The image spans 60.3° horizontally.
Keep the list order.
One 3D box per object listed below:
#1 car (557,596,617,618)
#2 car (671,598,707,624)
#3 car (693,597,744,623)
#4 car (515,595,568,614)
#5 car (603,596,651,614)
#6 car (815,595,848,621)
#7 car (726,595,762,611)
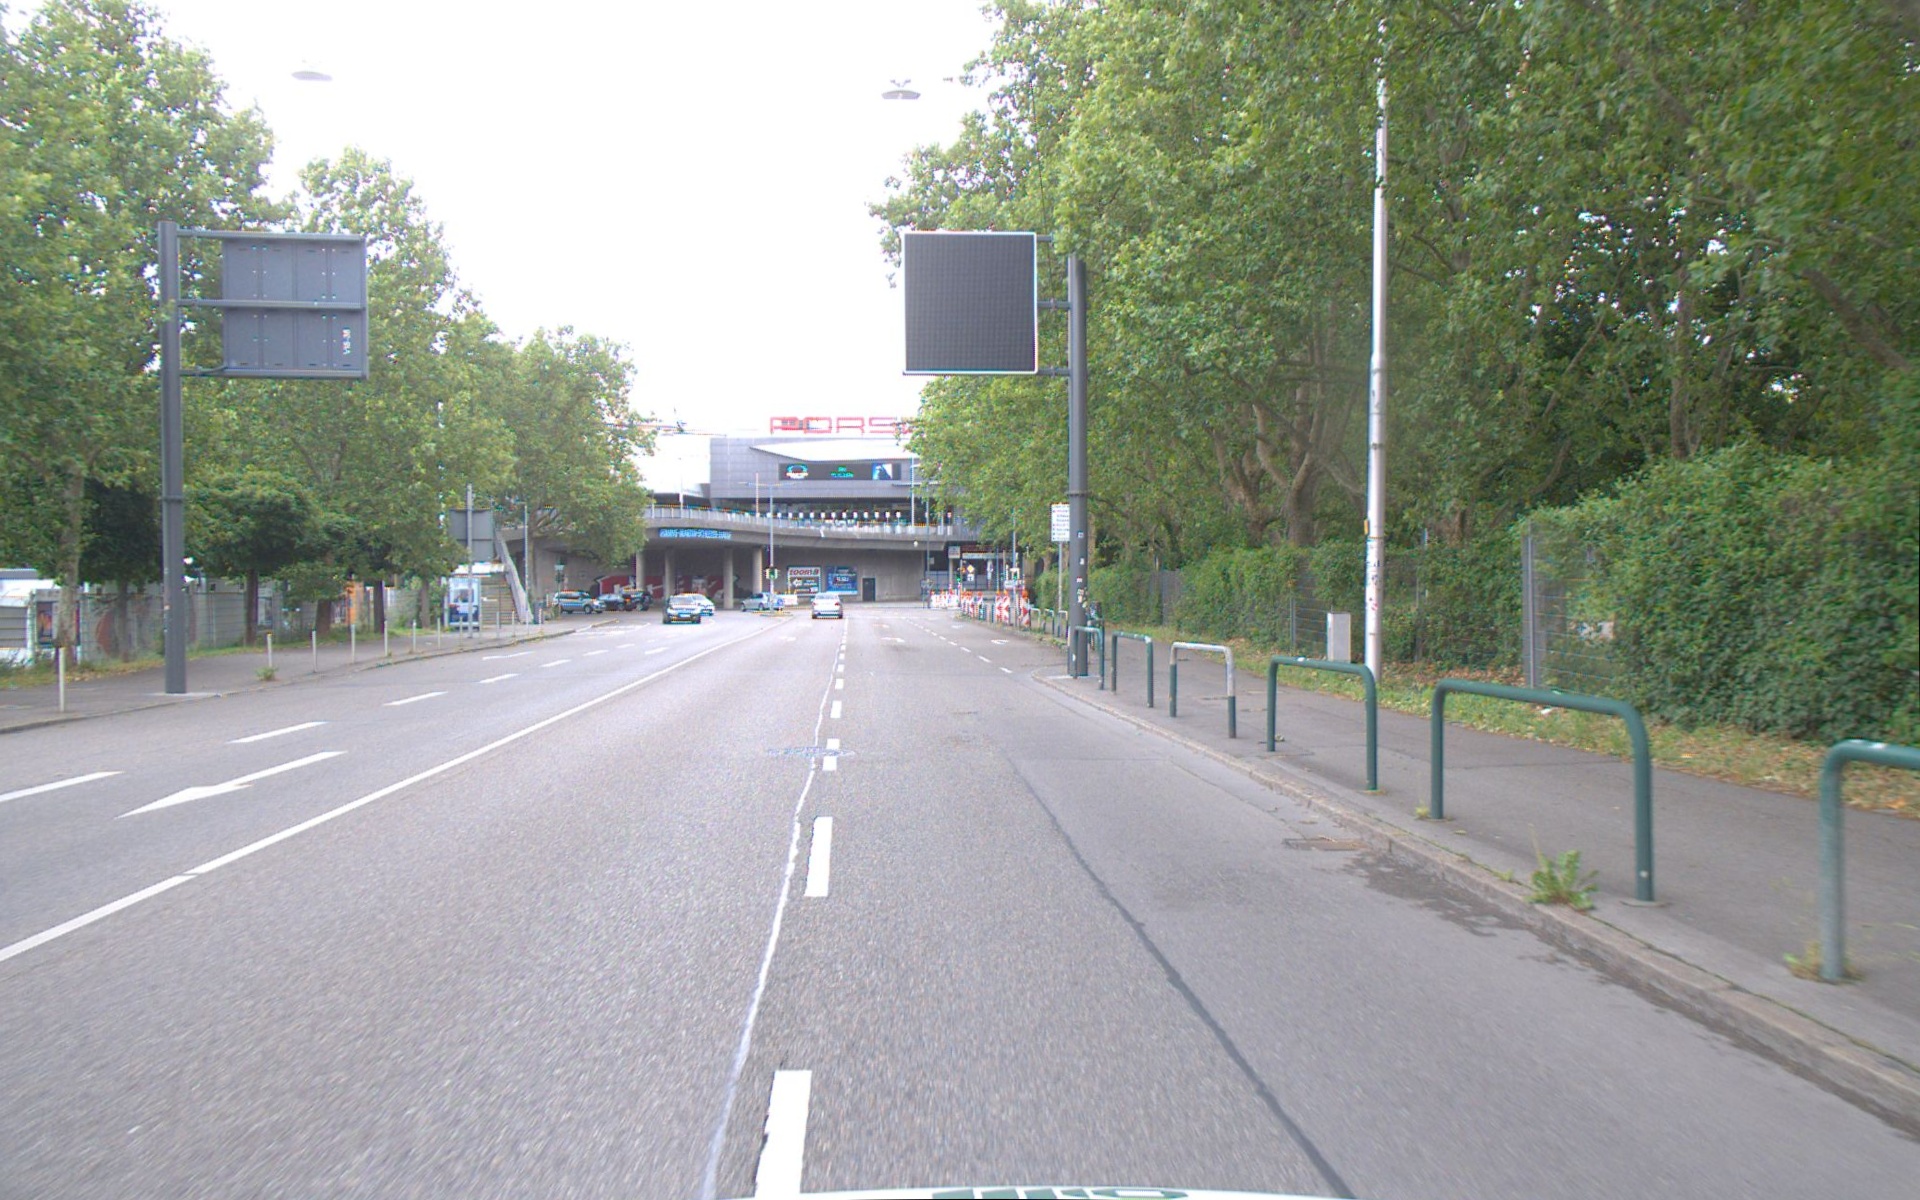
[{"bbox_3d":[-26.749,0.509,118.620,3.789,1.498,1.751,-1,0,21],"label":"car"},{"bbox_3d":[-14.124,0.556,86.256,1.624,1.295,3.579,1,0,-7],"label":"car"},{"bbox_3d":[-15.537,0.633,106.319,1.608,1.606,3.832,-1,0,-36],"label":"car"},{"bbox_3d":[-32.082,0.372,126.889,3.564,1.397,1.751,-1,0,21],"label":"car"},{"bbox_3d":[-25.925,0.375,128.779,3.384,1.323,1.585,-1,0,21],"label":"car"},{"bbox_3d":[-7.502,0.449,96.906,1.743,1.486,3.820,1,0,-3],"label":"car"},{"bbox_3d":[-16.375,0.205,125.286,1.400,1.133,2.999,1,0,-36],"label":"car"}]
